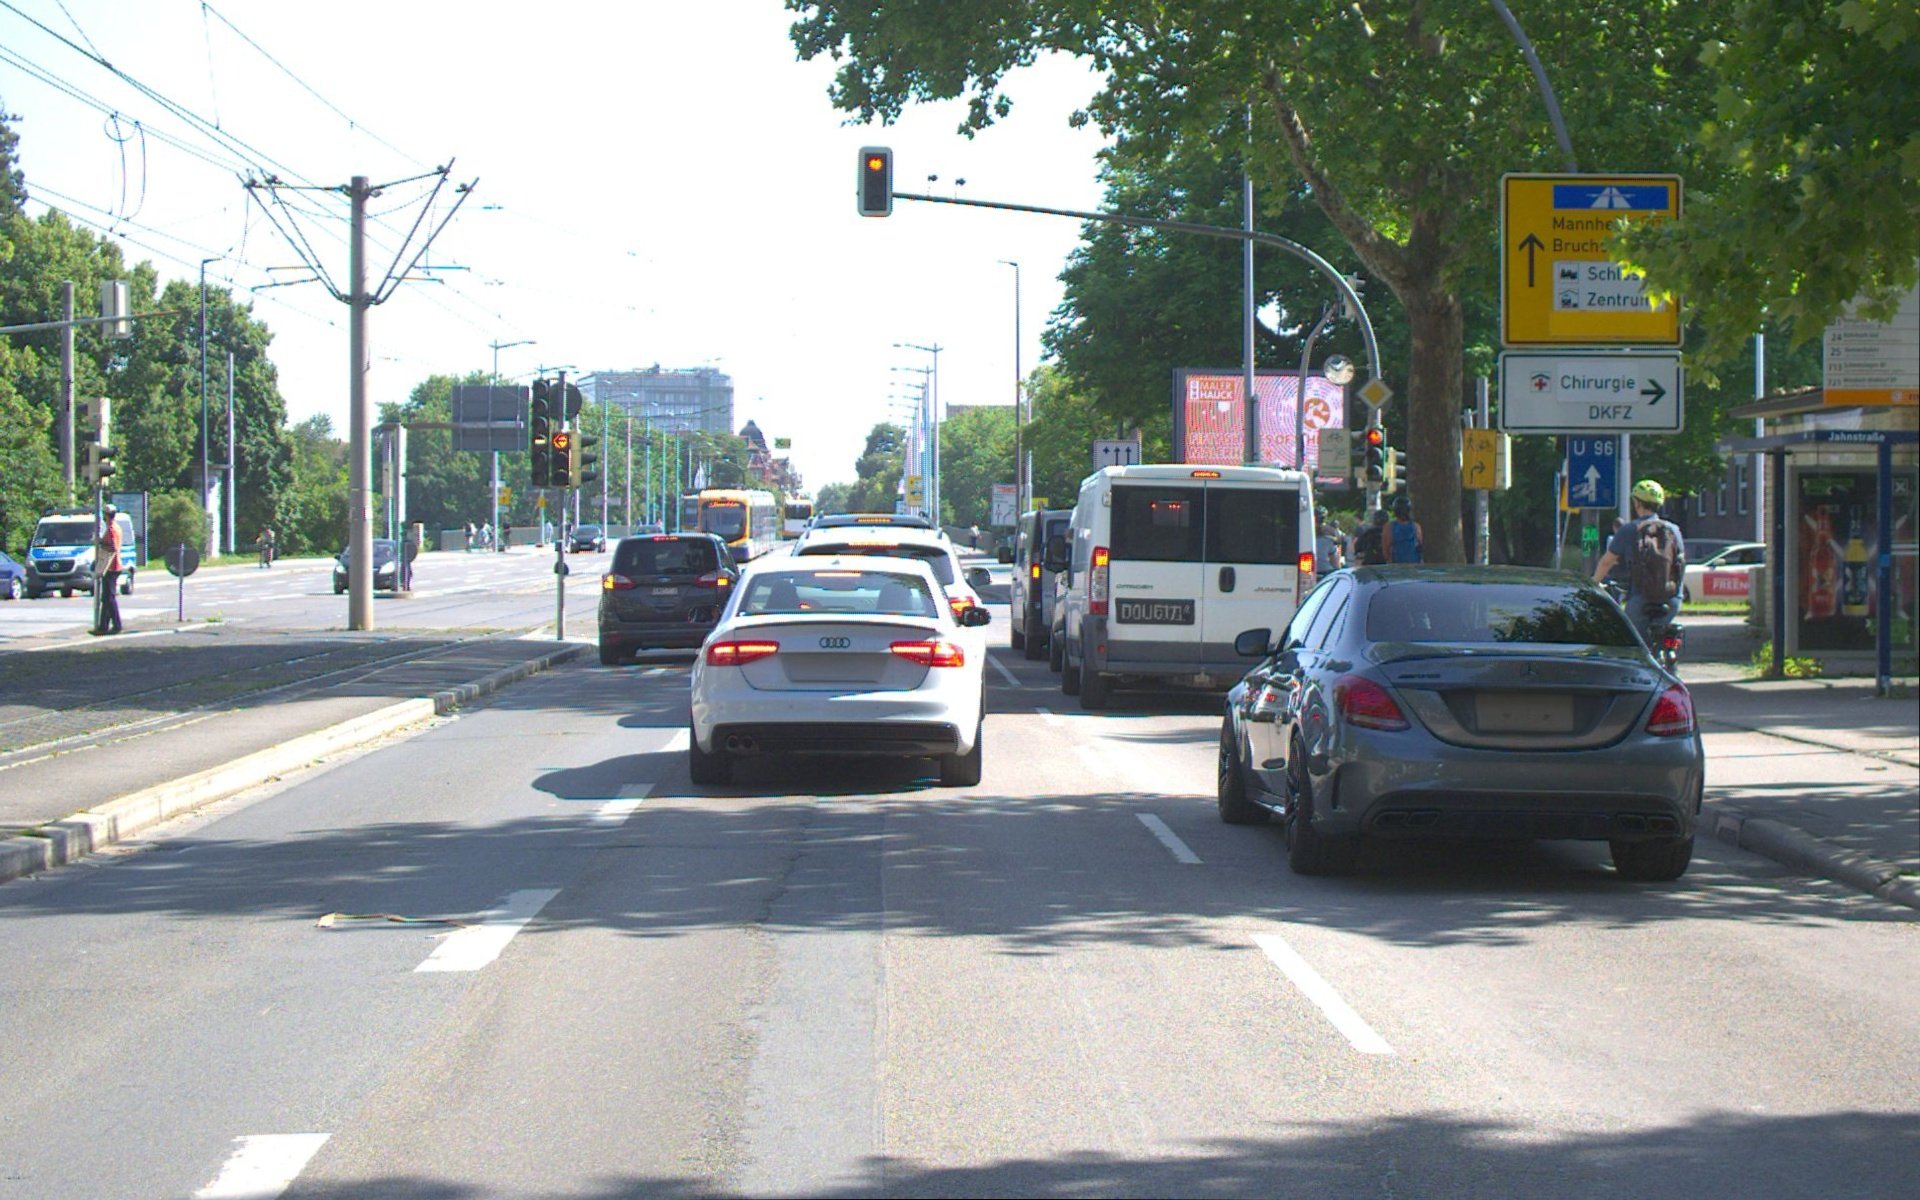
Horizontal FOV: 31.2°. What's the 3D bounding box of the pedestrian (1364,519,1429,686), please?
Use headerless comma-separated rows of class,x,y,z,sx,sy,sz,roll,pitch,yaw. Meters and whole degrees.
pedestrian,5.123,0.020,40.398,0.635,1.939,0.719,1,1,-1

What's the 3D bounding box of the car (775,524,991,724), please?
car,-0.662,0.162,29.862,1.729,1.599,3.885,1,1,-1

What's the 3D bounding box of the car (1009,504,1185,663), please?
car,1.766,-0.243,45.653,2.072,1.992,4.058,1,1,-1

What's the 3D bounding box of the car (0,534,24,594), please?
car,-25.239,-0.940,87.378,1.830,1.514,3.946,1,1,-1

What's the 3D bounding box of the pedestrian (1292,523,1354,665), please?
pedestrian,4.414,-0.080,41.837,0.602,1.689,0.953,-2,1,-1

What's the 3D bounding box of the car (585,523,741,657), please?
car,-3.798,-0.157,44.505,1.729,1.625,4.000,1,1,-1

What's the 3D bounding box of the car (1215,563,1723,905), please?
car,2.332,0.552,16.737,1.782,1.415,4.000,1,1,-1

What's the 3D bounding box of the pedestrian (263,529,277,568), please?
pedestrian,-27.737,-2.072,138.252,0.420,1.544,0.552,1,1,-1

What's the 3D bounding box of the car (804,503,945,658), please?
car,-1.099,-0.274,44.706,1.729,1.895,4.000,1,1,-1

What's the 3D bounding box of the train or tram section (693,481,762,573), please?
train or tram section,-10.392,-3.256,154.423,2.616,4.001,7.749,1,1,-1

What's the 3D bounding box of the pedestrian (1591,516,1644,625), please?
pedestrian,10.884,-0.488,56.938,0.778,1.782,0.764,1,1,6

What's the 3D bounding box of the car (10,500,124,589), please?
car,-24.599,-1.535,94.827,2.114,2.374,4.000,1,1,-1

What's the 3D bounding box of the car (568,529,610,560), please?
car,-20.393,-3.065,189.092,1.993,1.635,4.001,1,1,-3

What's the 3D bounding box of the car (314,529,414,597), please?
car,-15.738,-0.985,90.941,1.993,1.728,4.000,1,1,-1

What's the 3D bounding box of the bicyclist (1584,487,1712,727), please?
bicyclist,4.852,0.038,24.290,0.634,1.642,0.979,-2,1,-2

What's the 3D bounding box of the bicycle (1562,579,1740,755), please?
bicycle,4.876,0.448,24.399,0.714,1.144,2.178,-2,1,-2

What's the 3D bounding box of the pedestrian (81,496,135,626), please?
pedestrian,-12.752,-0.585,51.452,0.624,1.911,0.690,1,1,-1

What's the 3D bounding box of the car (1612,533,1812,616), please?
car,15.813,-0.537,72.430,3.777,1.666,1.793,1,1,0

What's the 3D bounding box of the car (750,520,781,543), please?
car,-13.647,-4.795,241.355,1.871,1.603,4.000,1,1,1

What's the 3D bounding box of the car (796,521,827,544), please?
car,-10.409,-4.743,241.080,1.871,1.603,4.000,1,1,1

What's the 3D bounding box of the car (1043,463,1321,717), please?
car,2.007,-0.122,32.377,2.230,2.204,4.162,1,1,-1

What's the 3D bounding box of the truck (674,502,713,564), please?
truck,-14.619,-3.680,188.917,1.993,3.313,6.021,0,1,-3

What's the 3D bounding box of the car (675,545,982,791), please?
car,-0.813,0.372,22.167,1.784,1.416,3.885,1,1,-1
